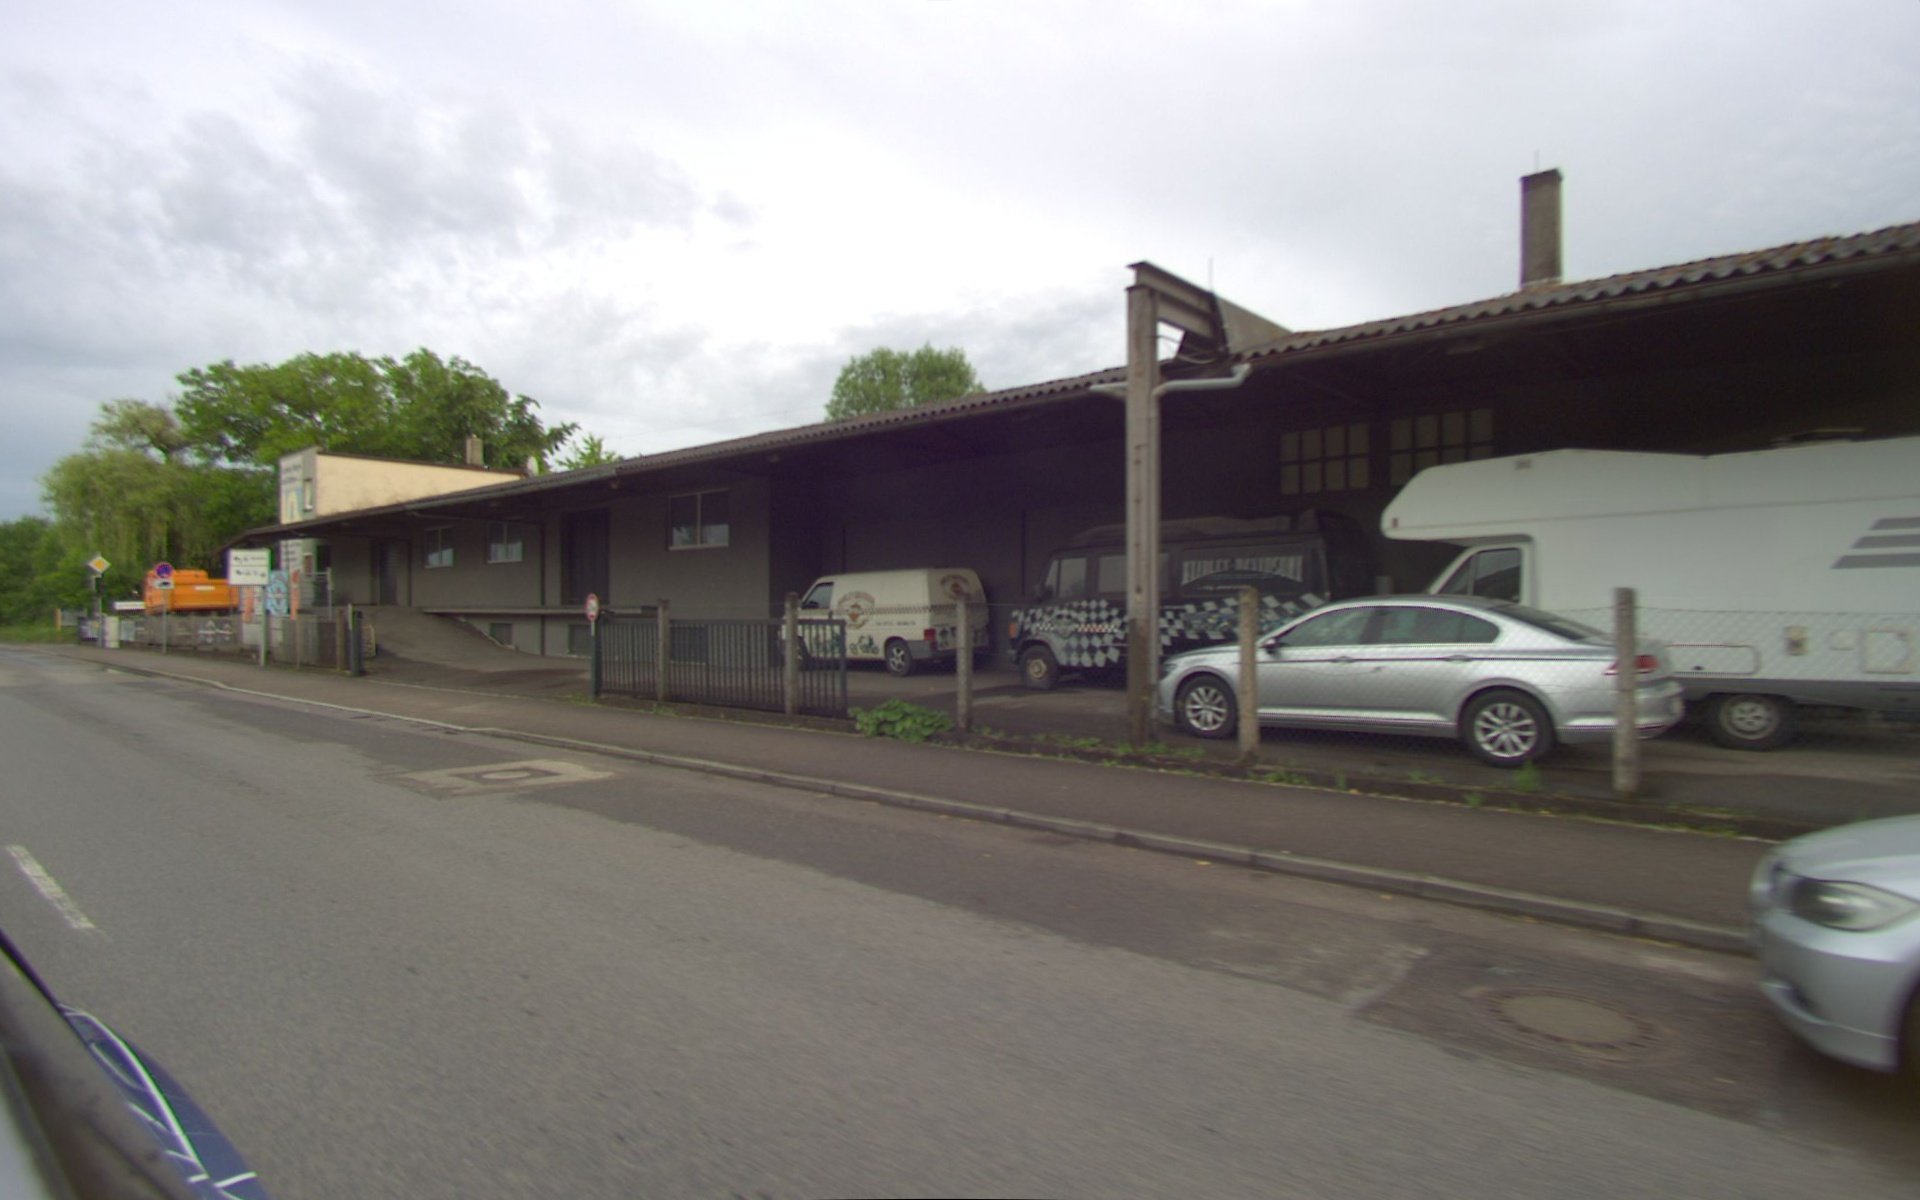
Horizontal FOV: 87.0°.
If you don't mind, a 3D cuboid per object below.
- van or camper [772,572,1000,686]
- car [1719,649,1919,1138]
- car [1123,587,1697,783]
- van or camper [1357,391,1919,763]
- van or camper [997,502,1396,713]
[{"bbox_3d":[-1.513,0.522,19.495,4.374,1.950,1.901,-2,0,44],"label":"van or camper"},{"bbox_3d":[4.718,0.838,2.271,4.705,1.375,1.621,-2,-2,41],"label":"car"},{"bbox_3d":[4.136,0.676,9.864,4.786,1.451,1.810,-2,0,41],"label":"car"},{"bbox_3d":[7.533,-0.182,10.167,6.148,3.058,2.279,-2,0,41],"label":"van or camper"},{"bbox_3d":[3.195,0.117,14.478,5.195,2.509,1.973,-2,0,41],"label":"van or camper"}]
